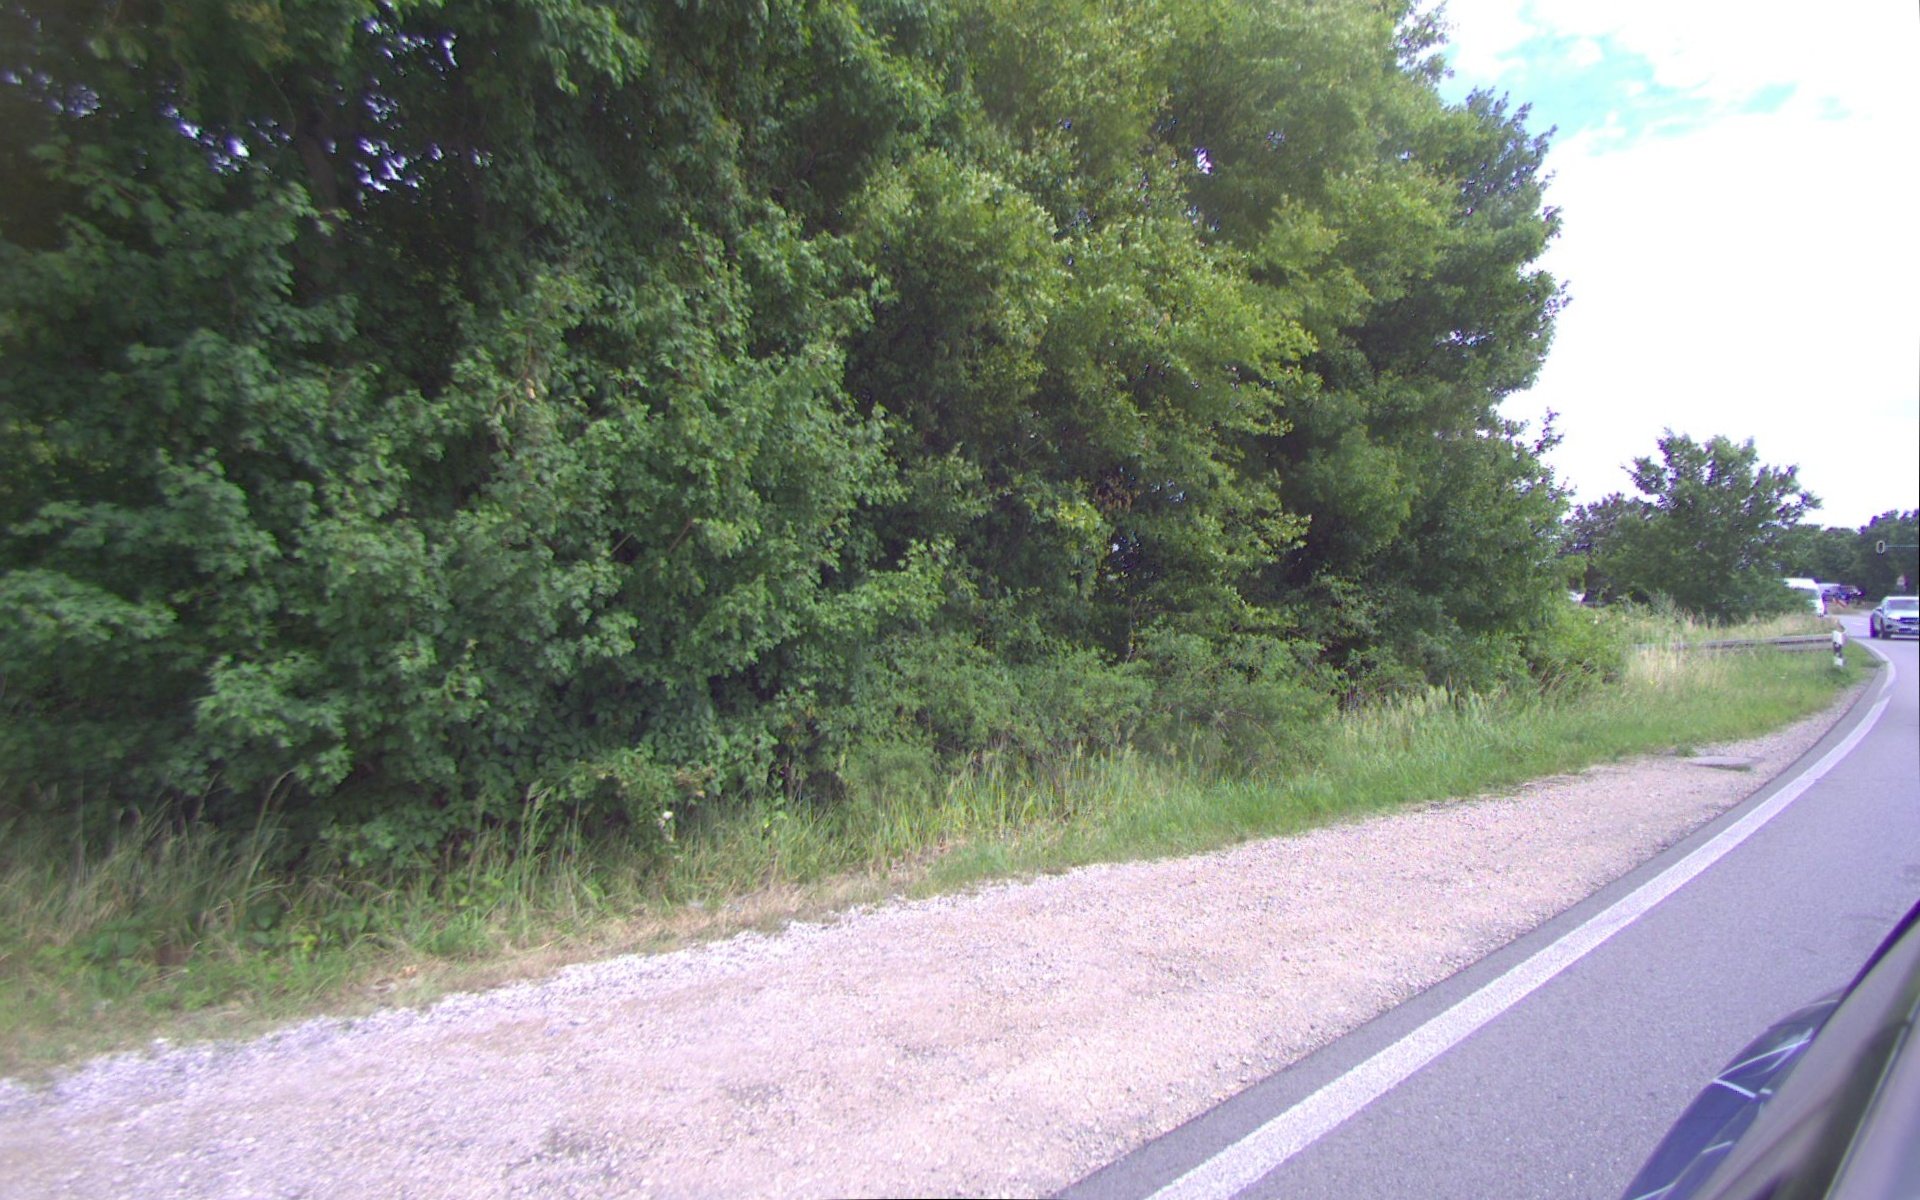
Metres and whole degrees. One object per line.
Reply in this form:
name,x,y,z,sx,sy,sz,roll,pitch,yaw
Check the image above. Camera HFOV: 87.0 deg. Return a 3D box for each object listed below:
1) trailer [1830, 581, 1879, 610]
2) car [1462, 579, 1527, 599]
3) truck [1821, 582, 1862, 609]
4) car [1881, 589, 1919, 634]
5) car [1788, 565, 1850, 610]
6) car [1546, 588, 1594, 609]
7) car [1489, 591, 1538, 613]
trailer,80.129,-0.382,90.711,2.013,2.475,6.889,0,0,31
car,55.924,-1.109,106.059,5.834,2.039,2.044,0,0,25
truck,82.710,-0.404,95.034,2.013,2.475,4.970,0,0,31
car,36.325,0.405,38.195,2.011,1.633,4.221,0,0,38
car,56.677,-0.768,66.910,2.202,2.705,5.181,-1,-2,31
car,60.570,-0.154,100.550,3.961,2.039,1.982,1,0,27
car,54.186,0.159,99.137,3.957,2.039,1.915,1,0,25
